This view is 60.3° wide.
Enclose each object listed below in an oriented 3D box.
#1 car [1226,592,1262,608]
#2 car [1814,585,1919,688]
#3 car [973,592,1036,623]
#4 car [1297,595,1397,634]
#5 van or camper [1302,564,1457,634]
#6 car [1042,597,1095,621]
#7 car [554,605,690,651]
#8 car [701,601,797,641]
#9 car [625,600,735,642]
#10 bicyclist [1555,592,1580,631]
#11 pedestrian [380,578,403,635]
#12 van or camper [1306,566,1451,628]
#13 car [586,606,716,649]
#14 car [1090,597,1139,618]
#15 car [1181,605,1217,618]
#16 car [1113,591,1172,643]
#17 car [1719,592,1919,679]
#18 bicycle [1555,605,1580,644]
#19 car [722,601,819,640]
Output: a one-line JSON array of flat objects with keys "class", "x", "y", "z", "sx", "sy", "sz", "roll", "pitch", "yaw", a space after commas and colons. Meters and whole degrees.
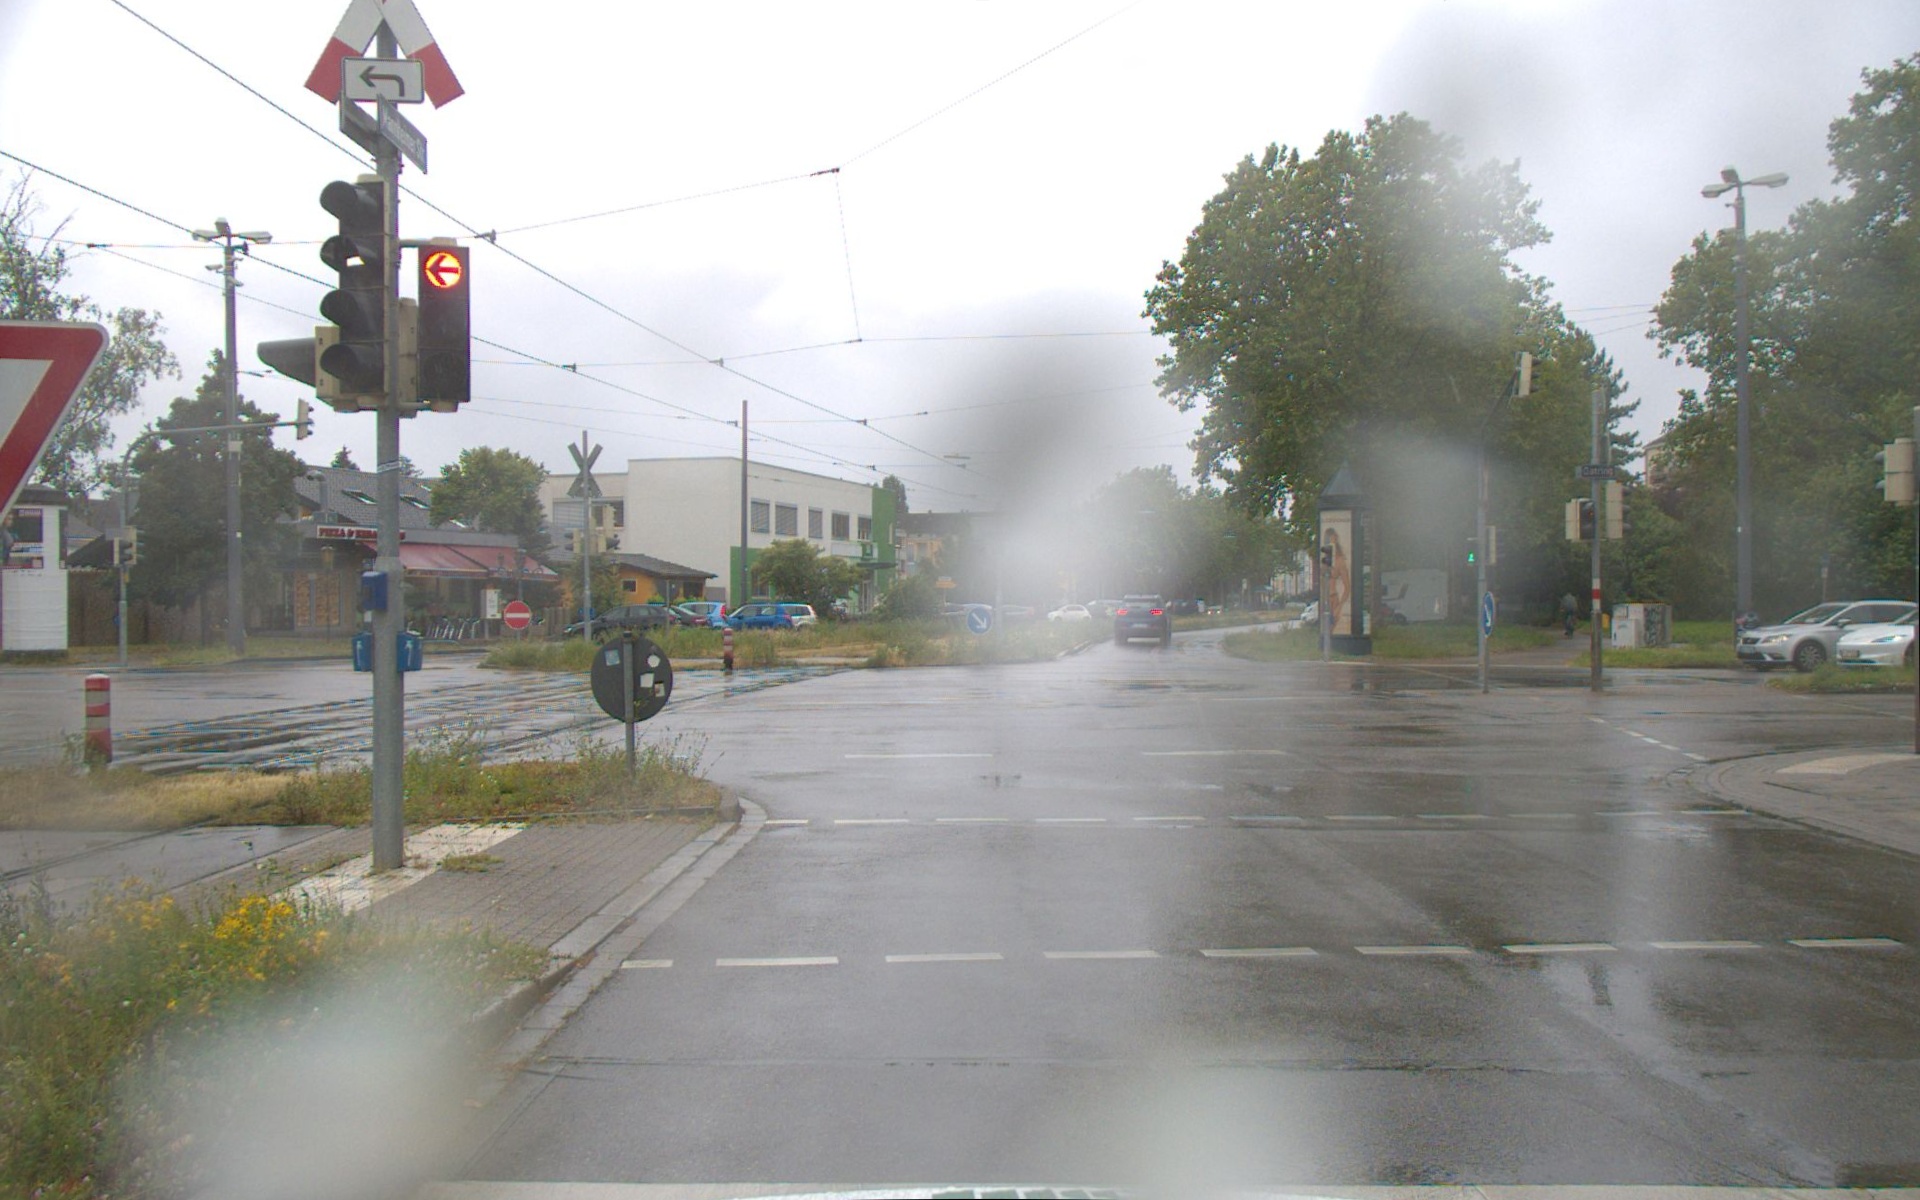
[{"class": "car", "x": 34.279, "y": -0.035, "z": 199.455, "sx": 3.909, "sy": 1.864, "sz": 1.998, "roll": 1, "pitch": 0, "yaw": -5}, {"class": "car", "x": 18.874, "y": 0.704, "z": 31.312, "sx": 4.506, "sy": 1.860, "sz": 1.931, "roll": 1, "pitch": 0, "yaw": -7}, {"class": "car", "x": 2.948, "y": 0.498, "z": 110.113, "sx": 3.911, "sy": 1.920, "sz": 1.997, "roll": 1, "pitch": 0, "yaw": -7}, {"class": "car", "x": 18.208, "y": 0.658, "z": 77.861, "sx": 4.352, "sy": 1.747, "sz": 2.000, "roll": 1, "pitch": 0, "yaw": 21}, {"class": "van or camper", "x": 20.521, "y": -0.044, "z": 80.838, "sx": 7.168, "sy": 3.234, "sz": 3.264, "roll": 1, "pitch": 0, "yaw": 17}, {"class": "car", "x": 8.299, "y": 0.683, "z": 126.732, "sx": 3.706, "sy": 1.732, "sz": 1.832, "roll": 1, "pitch": 0, "yaw": -11}, {"class": "car", "x": -11.978, "y": 0.990, "z": 58.801, "sx": 4.385, "sy": 1.443, "sz": 1.858, "roll": -2, "pitch": 0, "yaw": 0}, {"class": "car", "x": -8.899, "y": 0.872, "z": 69.651, "sx": 3.916, "sy": 1.609, "sz": 1.924, "roll": 0, "pitch": 0, "yaw": -12}, {"class": "car", "x": -10.895, "y": 0.813, "z": 64.457, "sx": 3.903, "sy": 1.609, "sz": 1.859, "roll": 0, "pitch": 0, "yaw": 4}, {"class": "bicyclist", "x": 23.059, "y": 0.436, "z": 62.780, "sx": 0.843, "sy": 1.450, "sz": 0.956, "roll": 1, "pitch": -1, "yaw": 20}, {"class": "pedestrian", "x": -20.822, "y": 0.229, "z": 60.584, "sx": 0.713, "sy": 2.049, "sz": 0.789, "roll": 1, "pitch": -1, "yaw": -23}, {"class": "van or camper", "x": 22.810, "y": -0.172, "z": 90.017, "sx": 7.274, "sy": 3.234, "sz": 3.262, "roll": 1, "pitch": 0, "yaw": 22}, {"class": "car", "x": -11.406, "y": 0.991, "z": 61.150, "sx": 4.405, "sy": 1.443, "sz": 1.858, "roll": -2, "pitch": 0, "yaw": 0}, {"class": "car", "x": 13.530, "y": 0.646, "z": 145.087, "sx": 3.916, "sy": 1.789, "sz": 2.004, "roll": 1, "pitch": 0, "yaw": -12}, {"class": "car", "x": 26.403, "y": 1.261, "z": 182.977, "sx": 3.806, "sy": 1.378, "sz": 1.762, "roll": 1, "pitch": 0, "yaw": 2}, {"class": "car", "x": 6.394, "y": 0.570, "z": 57.632, "sx": 1.767, "sy": 1.716, "sz": 3.914, "roll": 1, "pitch": 0, "yaw": 10}, {"class": "car", "x": 18.469, "y": 0.732, "z": 34.622, "sx": 4.309, "sy": 1.721, "sz": 1.931, "roll": 1, "pitch": 0, "yaw": -7}, {"class": "bicycle", "x": 22.894, "y": 0.920, "z": 62.321, "sx": 0.843, "sy": 1.450, "sz": 2.704, "roll": 1, "pitch": 0, "yaw": 20}, {"class": "car", "x": -8.357, "y": 0.872, "z": 72.781, "sx": 4.040, "sy": 1.670, "sz": 1.922, "roll": 0, "pitch": 0, "yaw": -15}]
